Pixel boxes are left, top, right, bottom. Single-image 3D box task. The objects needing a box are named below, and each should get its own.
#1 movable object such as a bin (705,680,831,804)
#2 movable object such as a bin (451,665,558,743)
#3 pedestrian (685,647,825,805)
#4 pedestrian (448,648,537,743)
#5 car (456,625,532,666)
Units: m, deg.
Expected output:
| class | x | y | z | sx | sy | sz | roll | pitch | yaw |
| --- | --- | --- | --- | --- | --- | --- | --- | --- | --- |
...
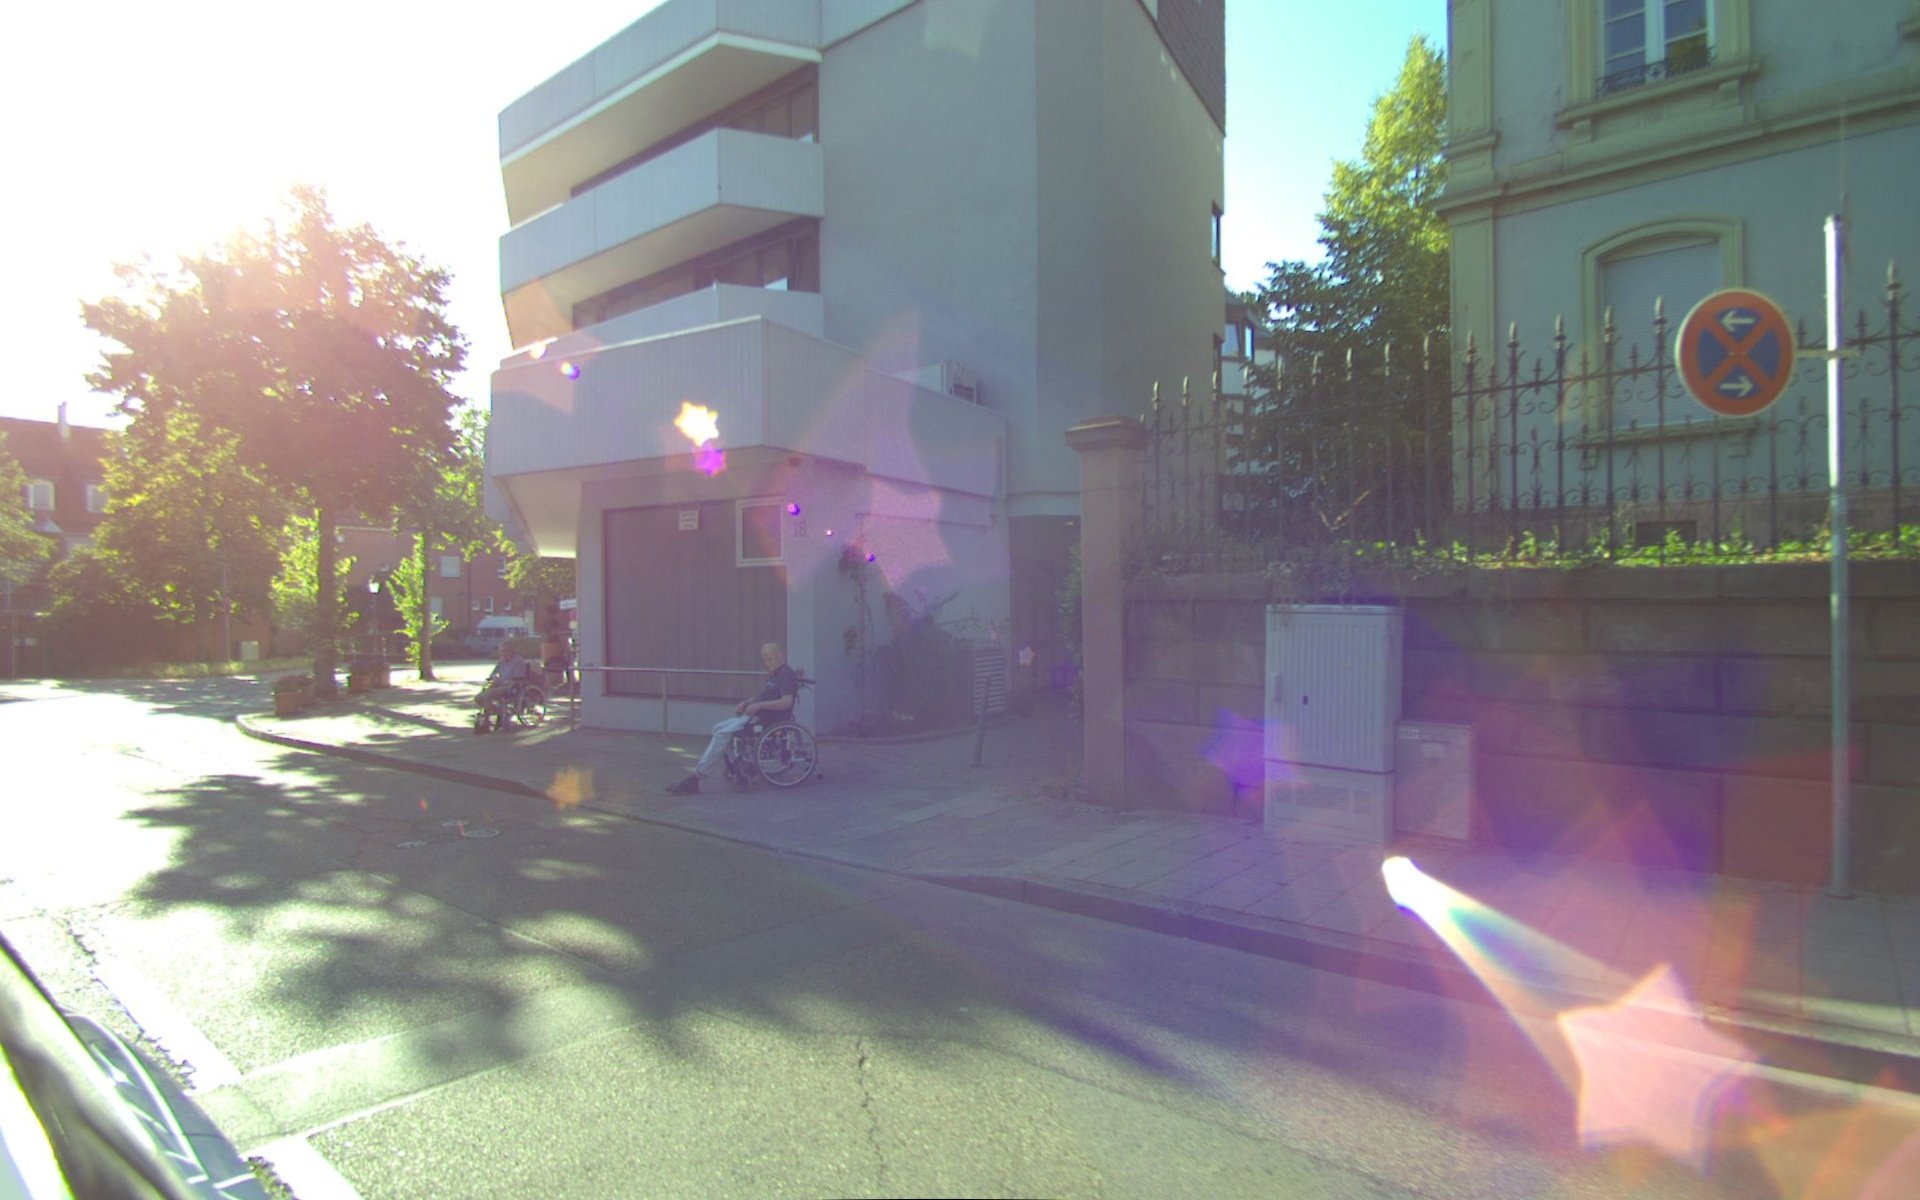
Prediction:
| class | x | y | z | sx | sy | sz | roll | pitch | yaw |
| --- | --- | --- | --- | --- | --- | --- | --- | --- | --- |
| movable object such as a bin | -1.757 | 1.249 | 9.155 | 1.020 | 0.935 | 0.843 | -3 | 0 | -15 |
| movable object such as a bin | -6.265 | 1.402 | 13.937 | 0.838 | 0.935 | 1.026 | -2 | 0 | 33 |
| pedestrian | -1.868 | 1.095 | 9.132 | 1.139 | 1.238 | 0.843 | -3 | 0 | -15 |
| pedestrian | -6.371 | 1.276 | 13.800 | 0.838 | 1.194 | 0.734 | -2 | 0 | 33 |
| car | -28.198 | 2.724 | 61.208 | 4.186 | 2.376 | 1.983 | -1 | 0 | 26 |
